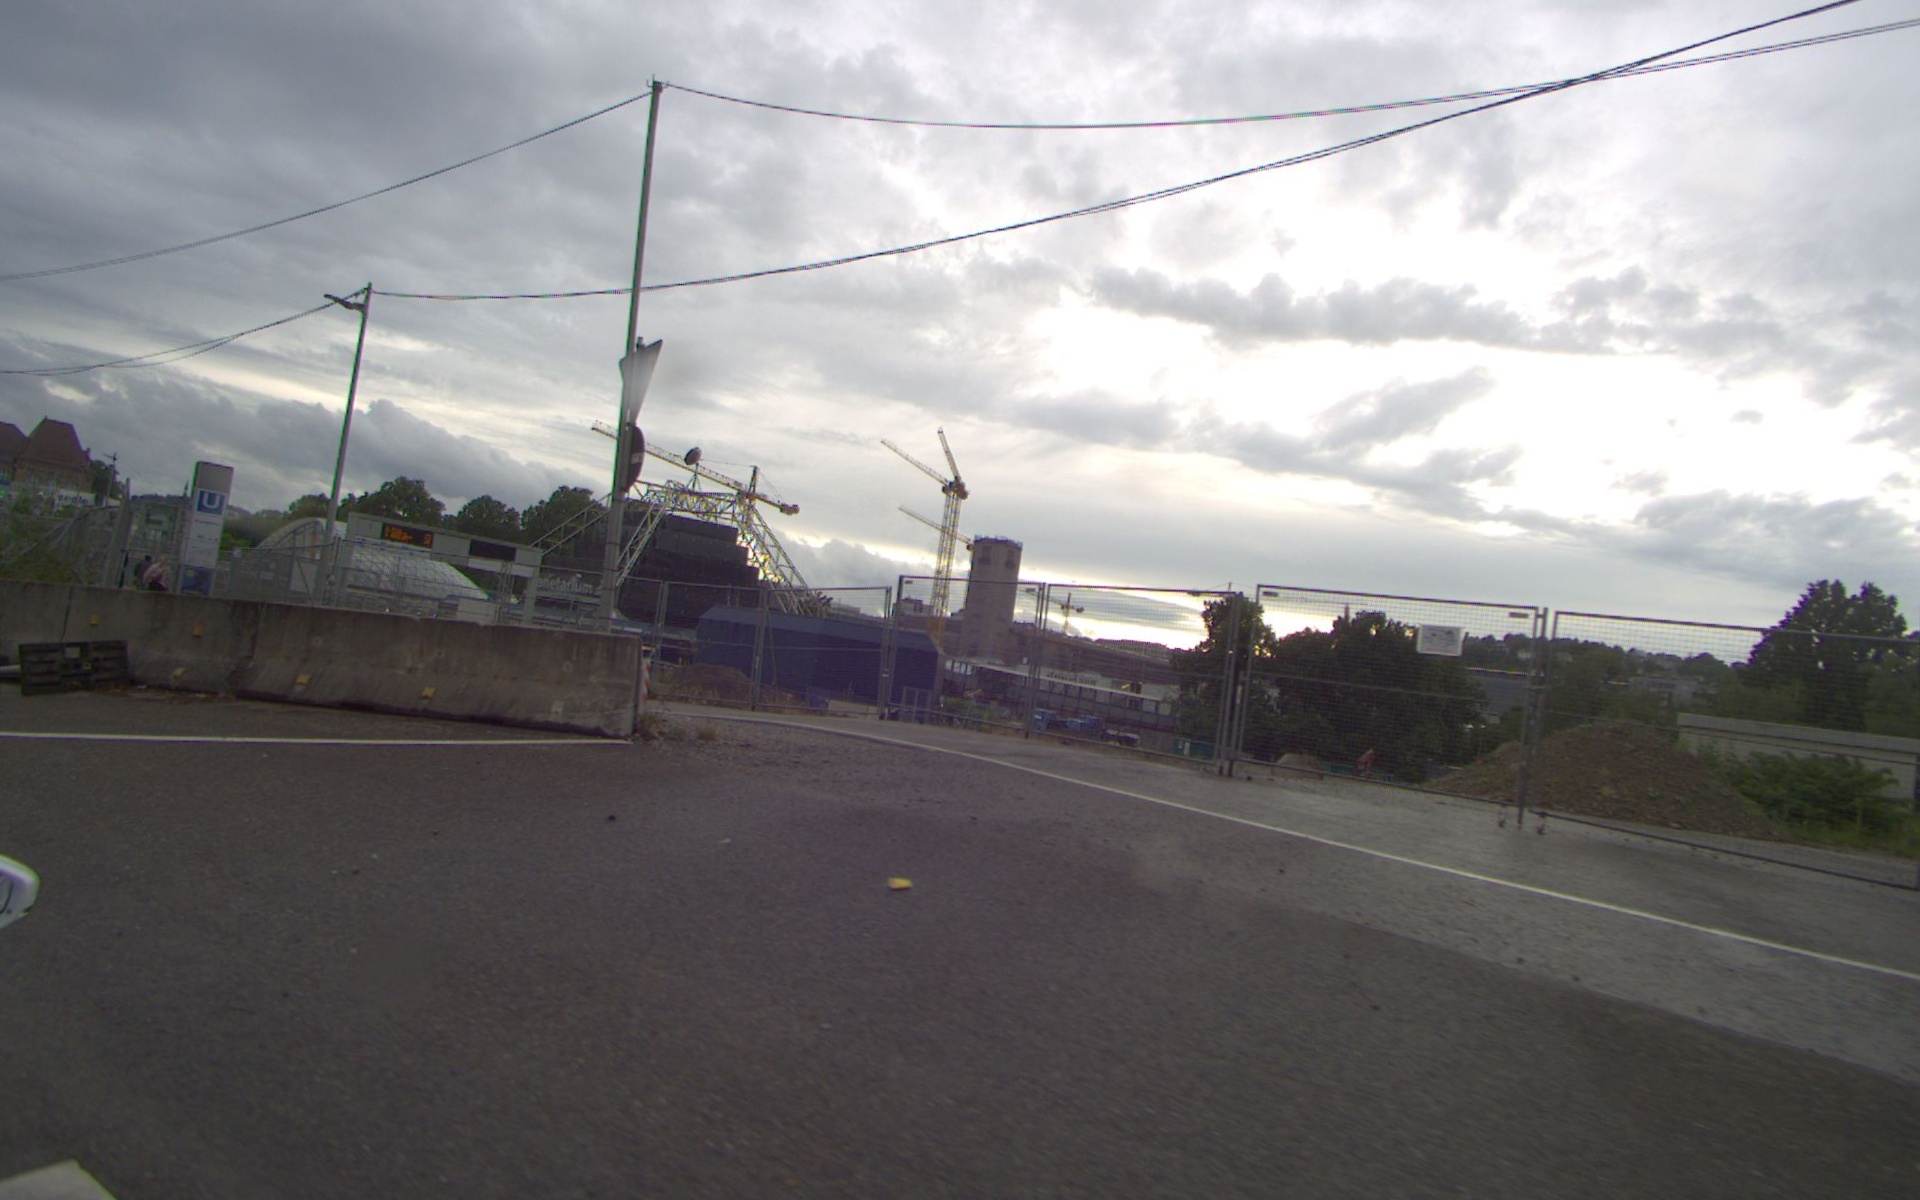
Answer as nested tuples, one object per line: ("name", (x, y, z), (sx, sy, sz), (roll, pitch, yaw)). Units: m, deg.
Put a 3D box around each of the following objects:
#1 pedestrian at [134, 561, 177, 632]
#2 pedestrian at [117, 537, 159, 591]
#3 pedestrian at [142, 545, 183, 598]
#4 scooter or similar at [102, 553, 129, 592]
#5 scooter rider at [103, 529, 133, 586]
("pedestrian", (-21.858, -0.099, 27.343), (0.687, 1.798, 0.807), (9, -3, -38))
("pedestrian", (-29.370, -1.278, 35.939), (1.007, 1.798, 0.690), (6, -3, 35))
("pedestrian", (-28.977, -1.043, 36.550), (1.007, 1.798, 0.727), (6, -3, 36))
("scooter or similar", (-27.661, -0.906, 32.954), (0.488, 1.193, 1.085), (9, -2, -37))
("scooter rider", (-27.588, -1.398, 32.966), (0.519, 1.775, 0.692), (9, -2, -38))
